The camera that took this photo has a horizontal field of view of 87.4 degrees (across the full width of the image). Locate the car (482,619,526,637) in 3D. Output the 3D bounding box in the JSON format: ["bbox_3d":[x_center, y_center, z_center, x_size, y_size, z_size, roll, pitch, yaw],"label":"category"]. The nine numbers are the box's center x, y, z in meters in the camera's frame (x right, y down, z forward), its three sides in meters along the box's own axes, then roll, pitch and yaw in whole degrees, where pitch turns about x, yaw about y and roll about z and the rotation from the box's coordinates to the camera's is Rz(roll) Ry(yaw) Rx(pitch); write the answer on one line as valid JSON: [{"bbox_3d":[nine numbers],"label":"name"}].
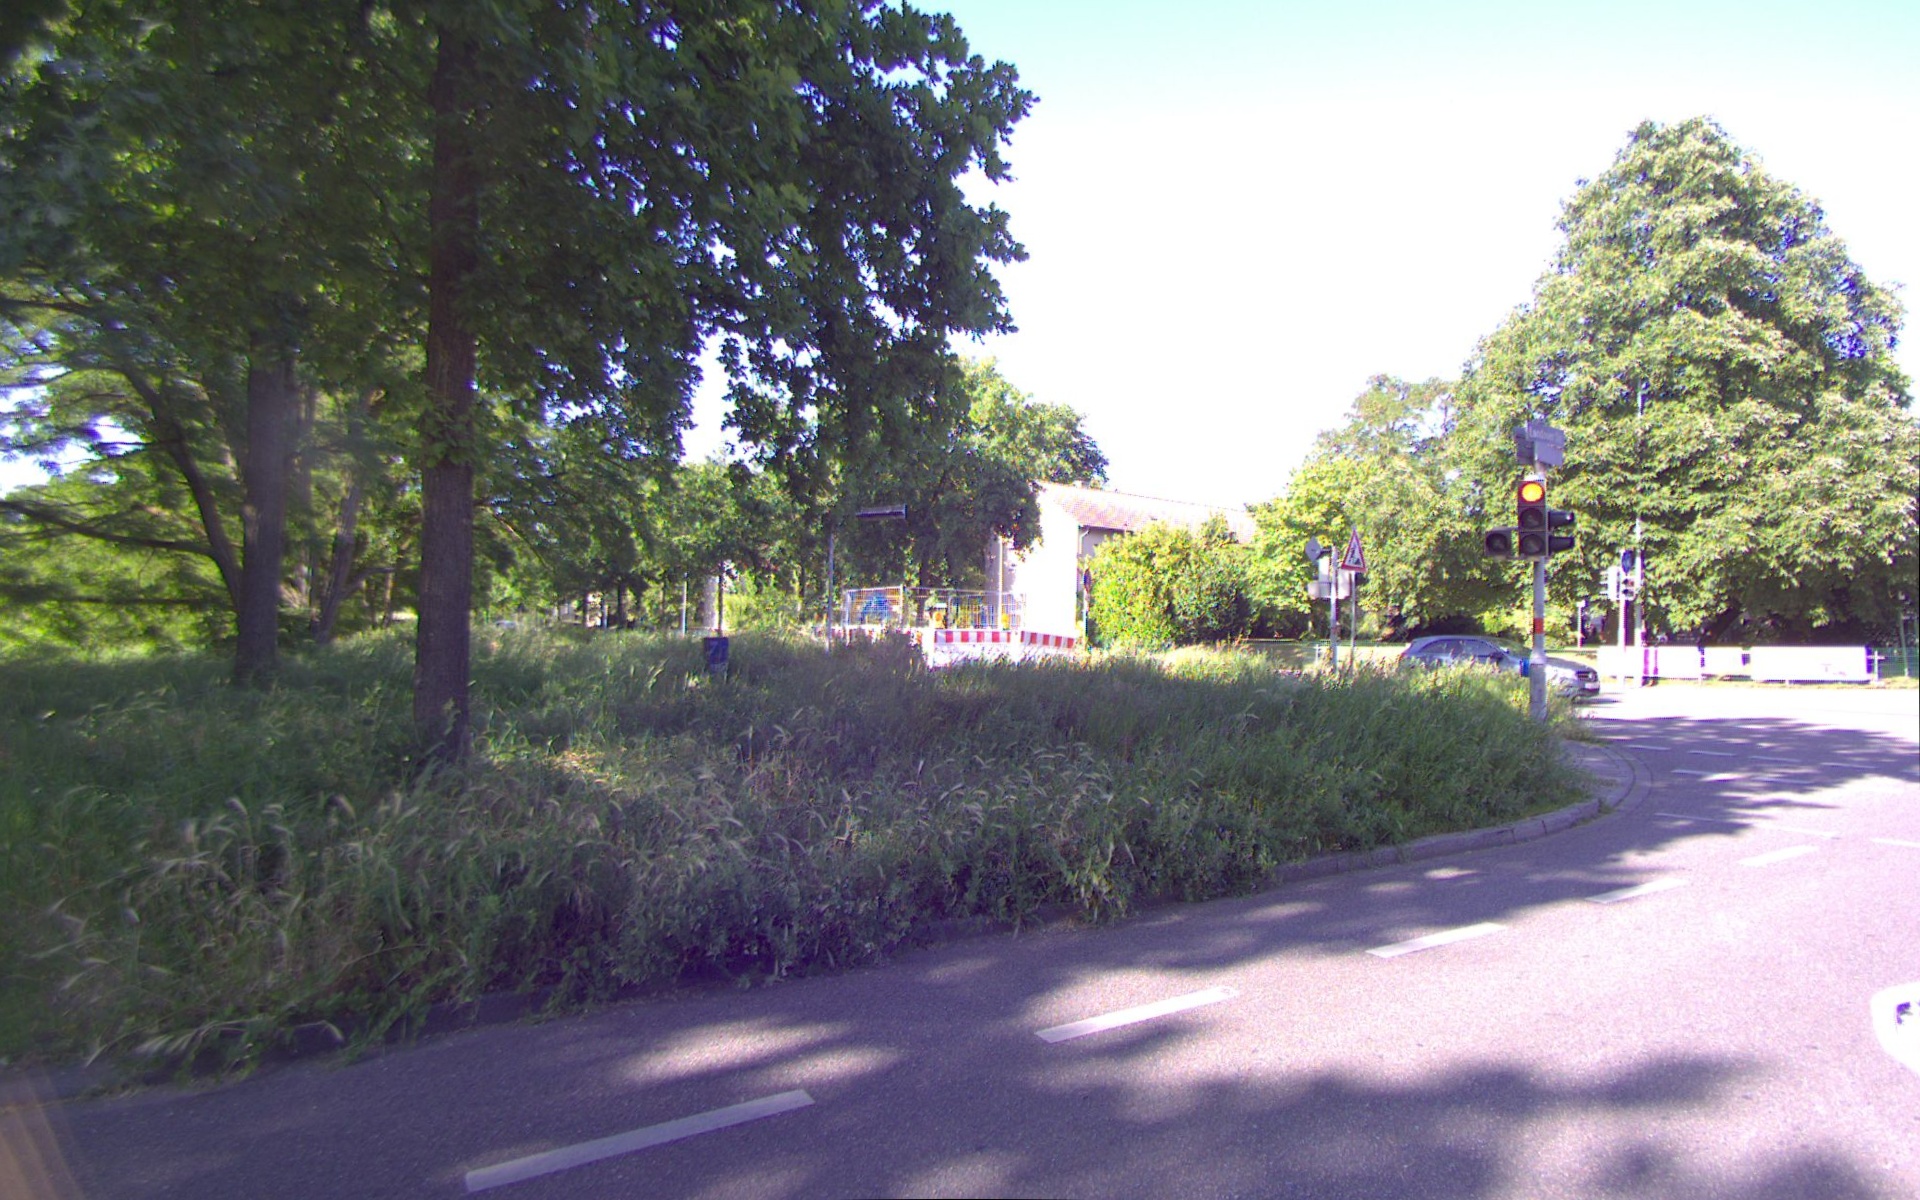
[{"bbox_3d":[-47.381,2.871,104.490,3.939,1.673,1.991,2,0,-20],"label":"car"}]

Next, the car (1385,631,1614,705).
[{"bbox_3d":[12.196,1.476,22.979,1.892,1.508,4.261,1,-2,-31],"label":"car"}]
